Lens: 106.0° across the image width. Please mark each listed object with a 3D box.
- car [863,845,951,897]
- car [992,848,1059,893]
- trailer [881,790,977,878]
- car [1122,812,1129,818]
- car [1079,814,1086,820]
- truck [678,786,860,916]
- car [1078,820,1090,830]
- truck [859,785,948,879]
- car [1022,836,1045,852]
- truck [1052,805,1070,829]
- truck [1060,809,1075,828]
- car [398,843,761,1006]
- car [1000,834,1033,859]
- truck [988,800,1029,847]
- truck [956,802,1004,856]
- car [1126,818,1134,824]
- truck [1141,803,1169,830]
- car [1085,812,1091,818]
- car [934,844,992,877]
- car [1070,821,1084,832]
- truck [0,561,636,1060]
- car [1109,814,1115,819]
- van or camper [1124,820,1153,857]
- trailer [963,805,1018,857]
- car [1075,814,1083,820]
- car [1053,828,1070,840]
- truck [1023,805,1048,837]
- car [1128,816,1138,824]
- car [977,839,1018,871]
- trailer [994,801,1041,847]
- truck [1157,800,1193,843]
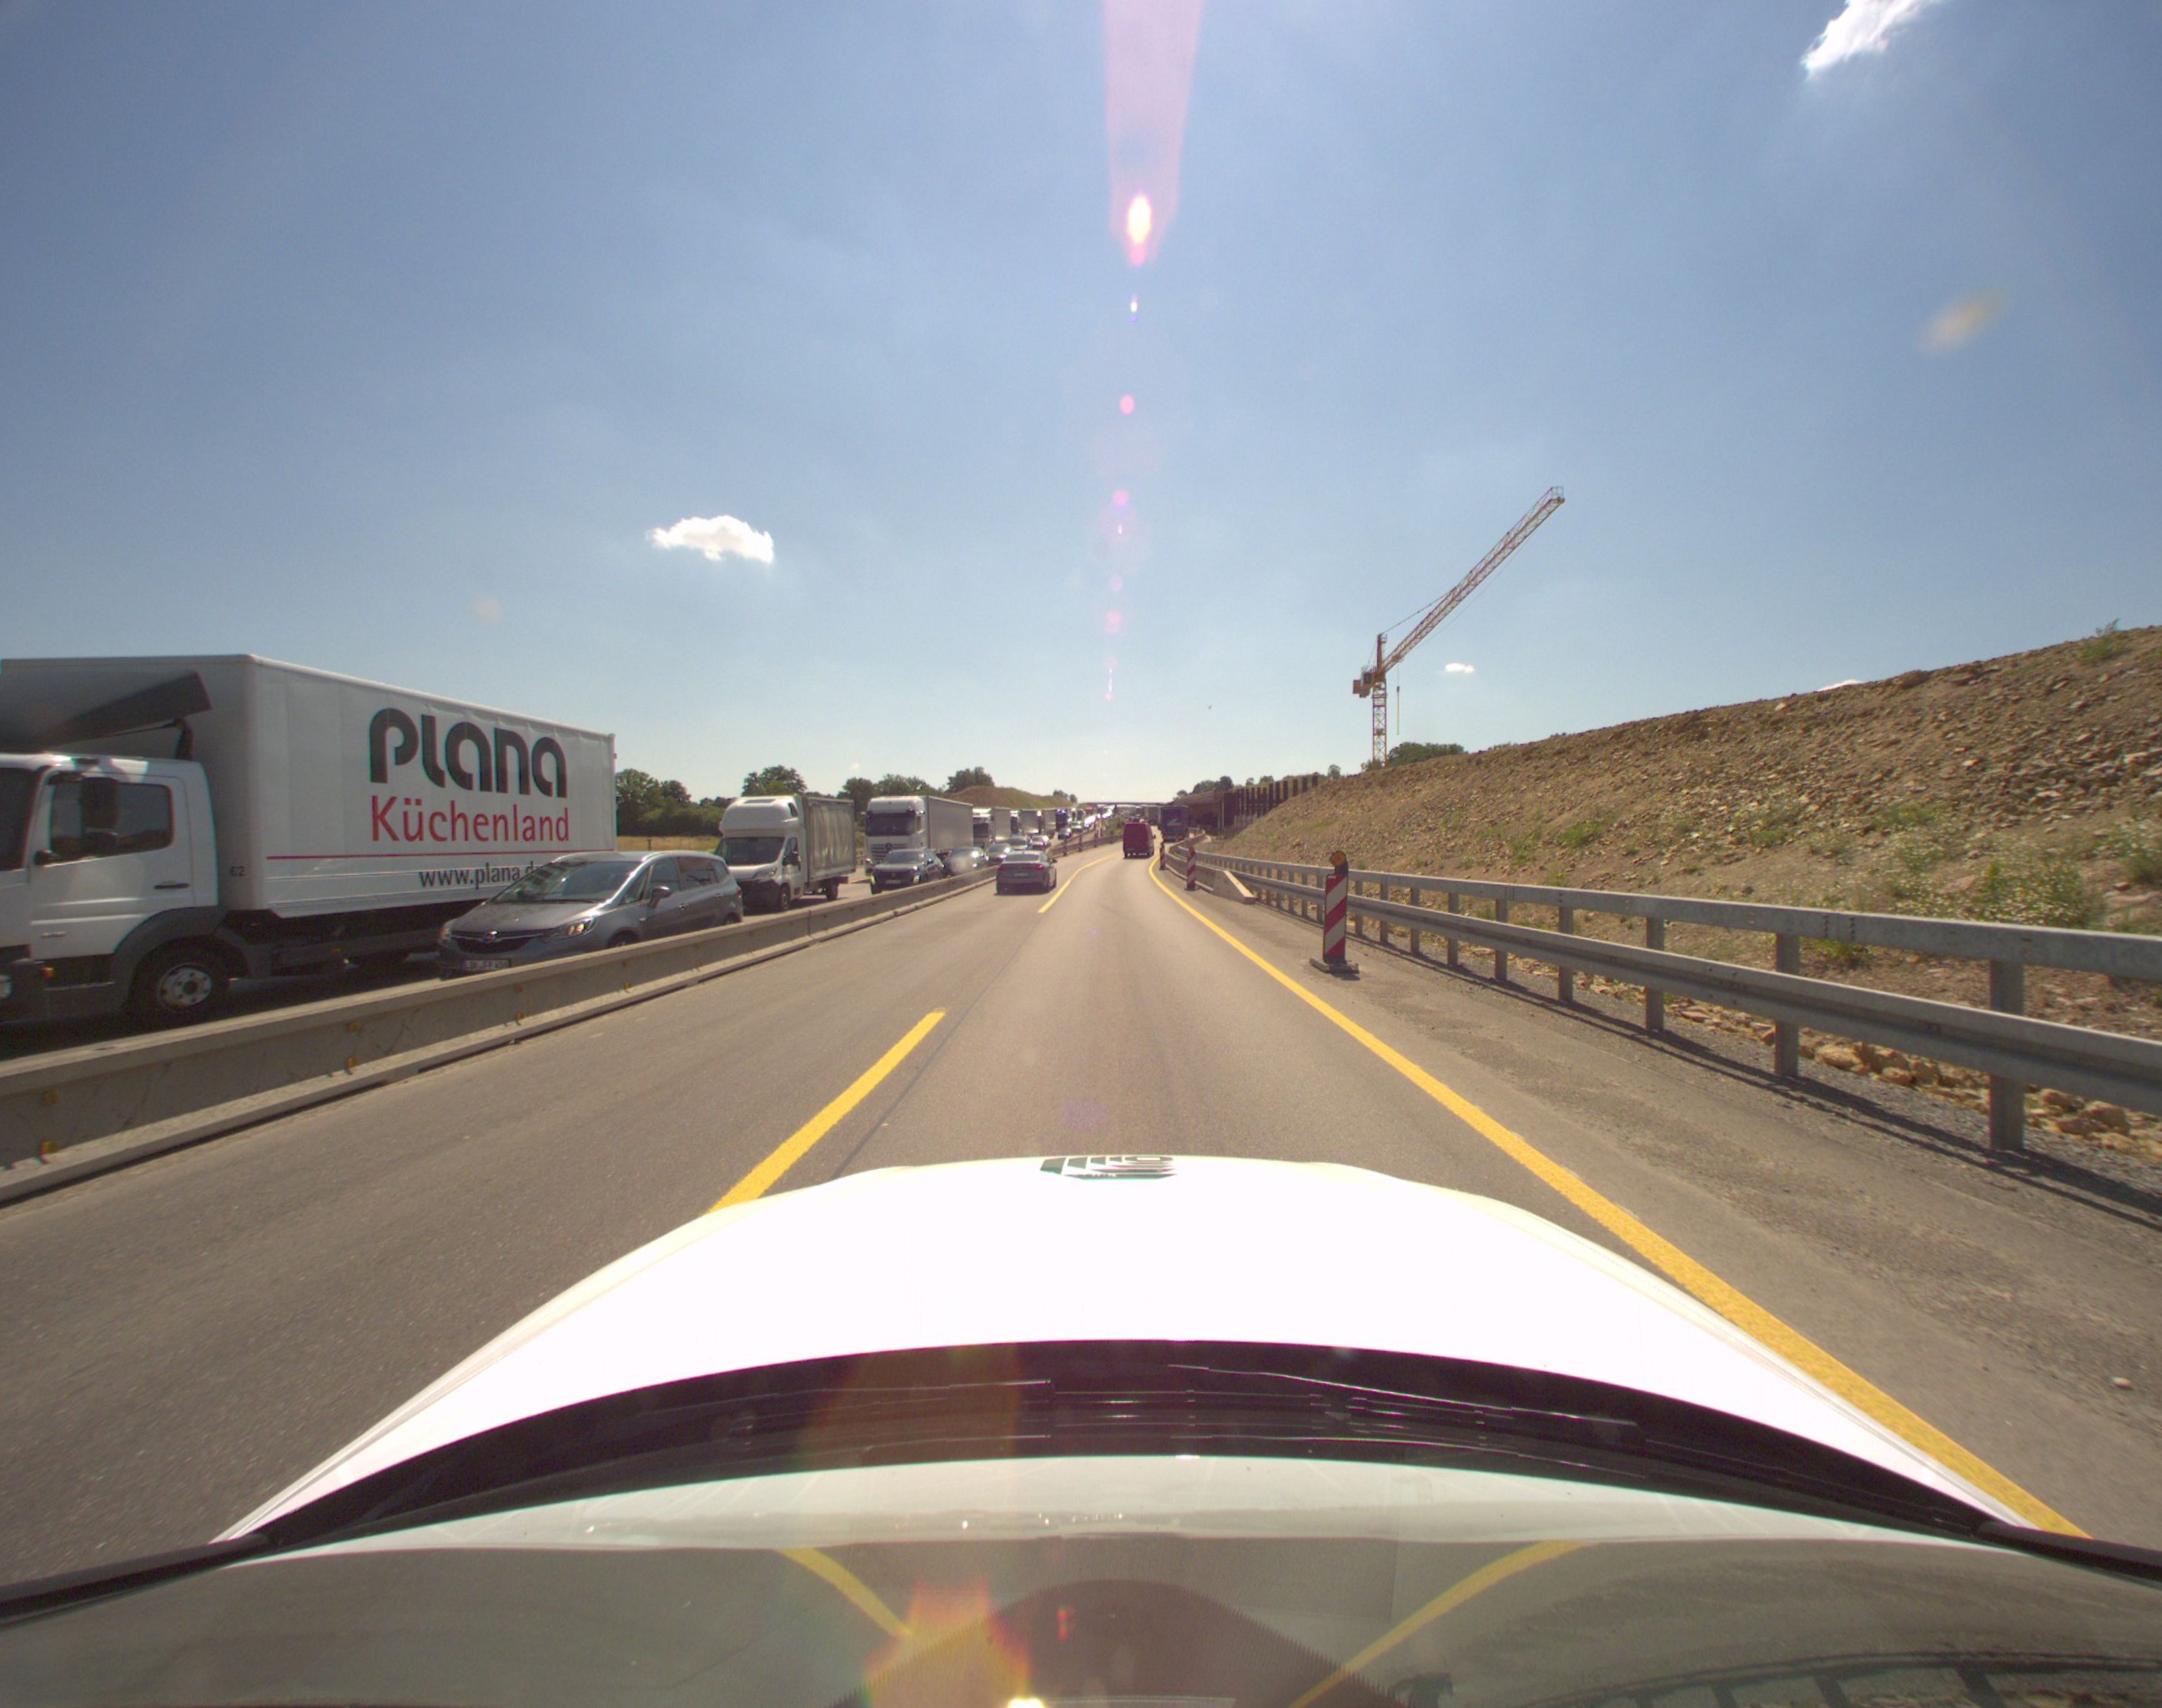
[{"bbox_3d":[-5.890,0.501,28.092,1.820,1.535,4.548,-3,1,2],"label":"car"},{"bbox_3d":[-1.877,0.560,28.887,1.844,1.452,4.744,-1,0,2],"label":"car"},{"bbox_3d":[-8.295,-1.039,46.489,2.584,4.257,12.475,-1,0,2],"label":"trailer"},{"bbox_3d":[14.102,-12.413,257.349,1.945,1.641,4.269,-1,0,2],"label":"car"},{"bbox_3d":[0.404,-10.273,224.220,1.945,1.530,4.269,-1,0,1],"label":"car"},{"bbox_3d":[-8.678,-0.129,23.709,2.425,3.148,7.024,-2,1,1],"label":"truck"},{"bbox_3d":[0.536,-5.260,147.249,1.945,1.530,4.269,-1,0,2],"label":"car"},{"bbox_3d":[-8.591,-0.997,40.242,2.540,4.231,6.536,-1,0,4],"label":"truck"},{"bbox_3d":[-4.447,-0.965,76.722,1.740,1.409,4.002,-1,0,2],"label":"car"},{"bbox_3d":[-3.477,-6.454,144.479,2.878,3.839,8.001,-1,0,0],"label":"truck"},{"bbox_3d":[-2.864,-7.643,176.720,2.878,3.839,8.001,-1,0,0],"label":"truck"},{"bbox_3d":[-6.141,0.735,10.788,1.820,1.651,4.548,1,0,2],"label":"car"},{"bbox_3d":[-4.755,-0.540,60.460,1.987,1.783,4.001,-1,0,1],"label":"car"},{"bbox_3d":[-7.200,-2.984,81.454,3.038,4.480,5.987,-1,1,4],"label":"truck"},{"bbox_3d":[-7.699,-1.818,62.676,2.771,3.870,5.464,-1,-1,2],"label":"truck"},{"bbox_3d":[12.862,-8.716,214.684,1.945,1.530,4.269,-1,0,2],"label":"car"},{"bbox_3d":[16.089,-8.057,178.212,5.140,4.997,13.885,-3,0,2],"label":"truck"},{"bbox_3d":[2.111,-11.622,245.213,1.945,1.530,4.269,-1,0,1],"label":"car"},{"bbox_3d":[-5.591,0.277,39.223,1.895,1.376,4.548,-3,1,2],"label":"car"},{"bbox_3d":[-0.596,-4.383,130.291,1.945,1.530,4.269,-1,0,2],"label":"car"},{"bbox_3d":[-9.512,-0.342,10.560,2.516,3.856,8.673,-1,0,1],"label":"truck"},{"bbox_3d":[9.719,-11.811,256.533,1.945,1.530,4.269,-1,0,2],"label":"car"},{"bbox_3d":[4.476,-1.177,62.423,2.019,2.744,4.523,-1,0,6],"label":"van or camper"},{"bbox_3d":[-7.409,-1.742,68.258,2.771,3.931,11.017,-1,0,3],"label":"trailer"},{"bbox_3d":[-0.602,-9.865,217.645,1.945,1.530,4.269,-1,0,1],"label":"car"},{"bbox_3d":[-2.582,-2.664,108.822,1.945,1.530,4.269,-1,0,2],"label":"car"},{"bbox_3d":[-5.695,-4.087,102.467,2.674,3.839,7.385,-1,0,0],"label":"truck"},{"bbox_3d":[11.928,-7.893,187.186,2.278,1.530,4.362,-2,0,4],"label":"car"},{"bbox_3d":[-4.979,0.045,49.110,1.987,1.783,4.001,-1,0,1],"label":"car"},{"bbox_3d":[-6.697,-3.074,87.720,3.028,4.552,12.143,-1,1,5],"label":"trailer"},{"bbox_3d":[11.073,-3.772,95.739,2.998,4.692,6.961,-3,0,15],"label":"truck"}]
